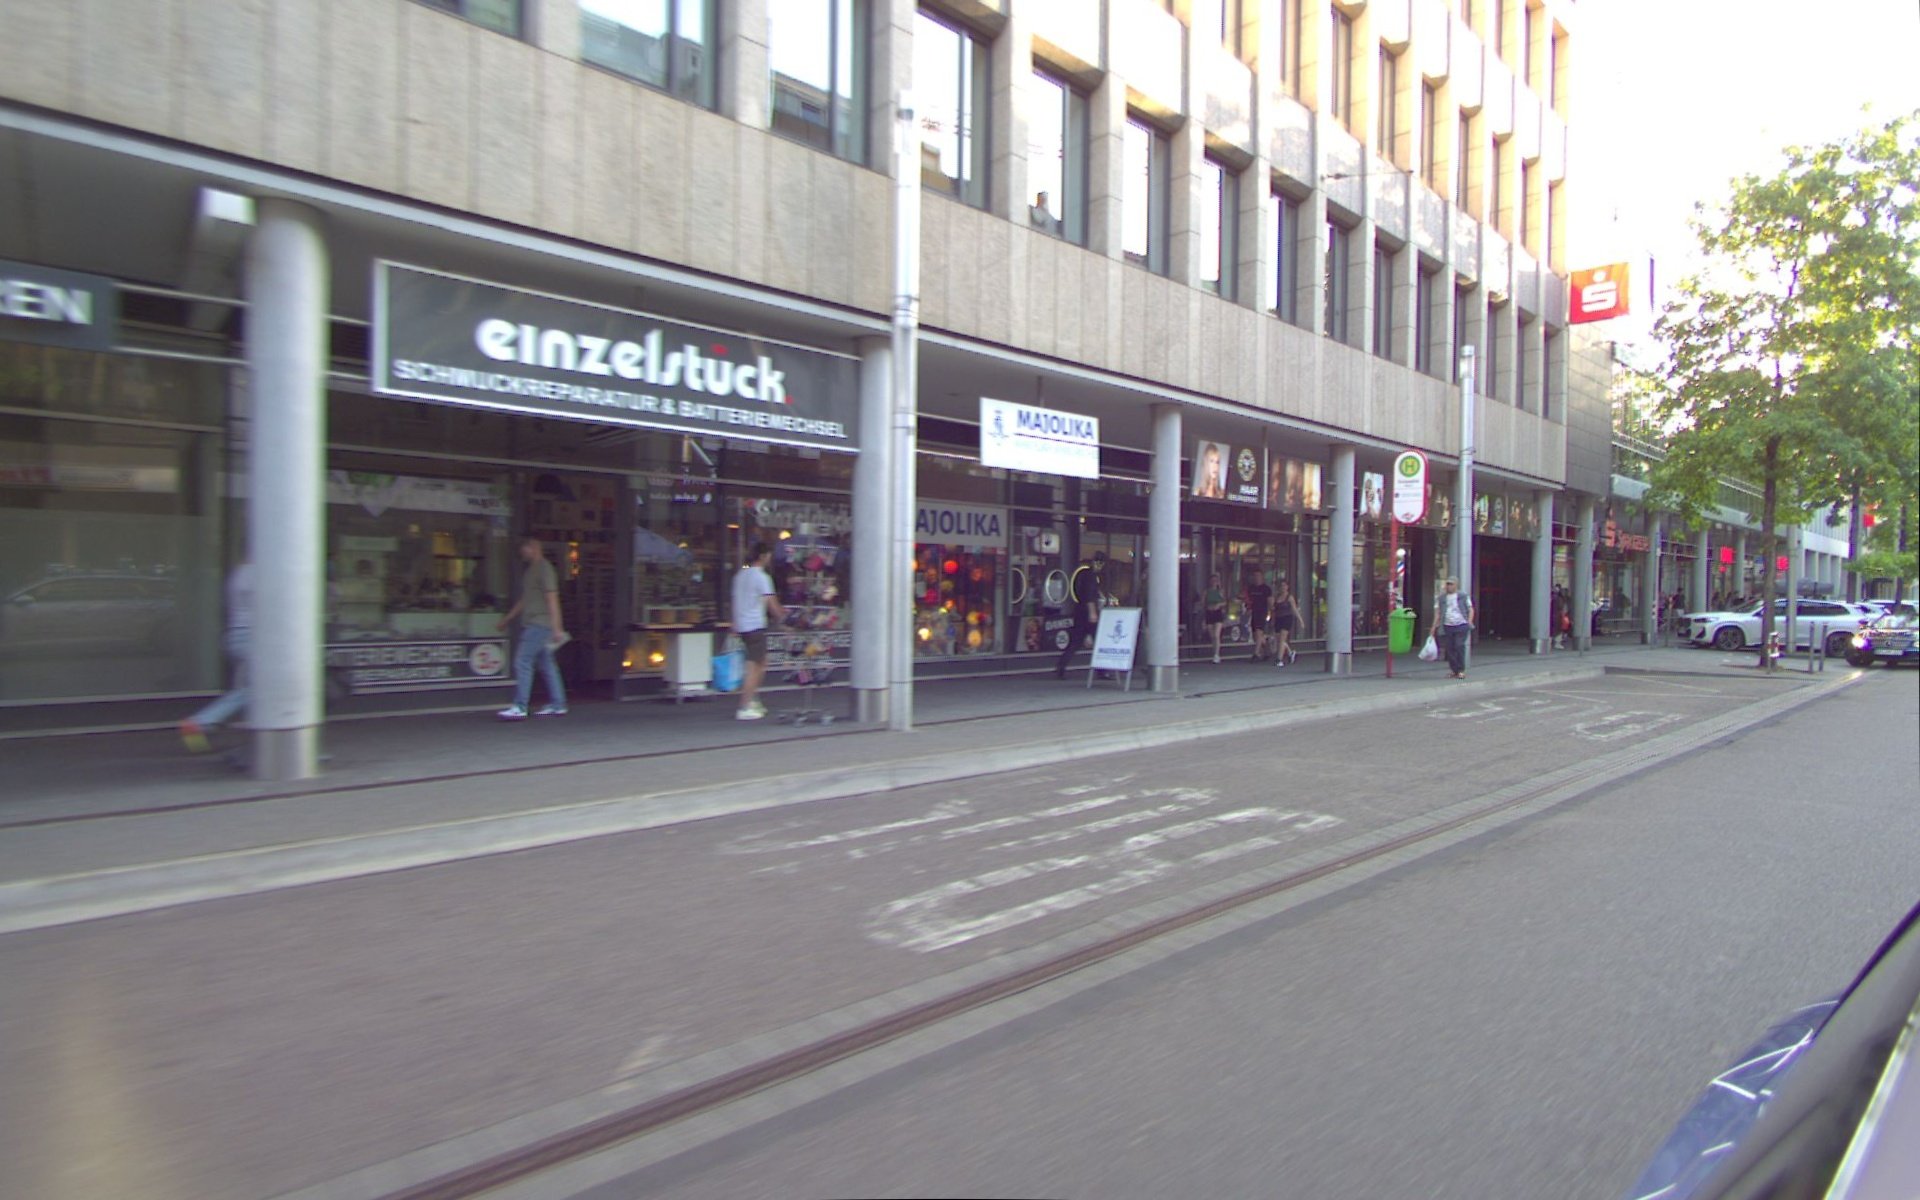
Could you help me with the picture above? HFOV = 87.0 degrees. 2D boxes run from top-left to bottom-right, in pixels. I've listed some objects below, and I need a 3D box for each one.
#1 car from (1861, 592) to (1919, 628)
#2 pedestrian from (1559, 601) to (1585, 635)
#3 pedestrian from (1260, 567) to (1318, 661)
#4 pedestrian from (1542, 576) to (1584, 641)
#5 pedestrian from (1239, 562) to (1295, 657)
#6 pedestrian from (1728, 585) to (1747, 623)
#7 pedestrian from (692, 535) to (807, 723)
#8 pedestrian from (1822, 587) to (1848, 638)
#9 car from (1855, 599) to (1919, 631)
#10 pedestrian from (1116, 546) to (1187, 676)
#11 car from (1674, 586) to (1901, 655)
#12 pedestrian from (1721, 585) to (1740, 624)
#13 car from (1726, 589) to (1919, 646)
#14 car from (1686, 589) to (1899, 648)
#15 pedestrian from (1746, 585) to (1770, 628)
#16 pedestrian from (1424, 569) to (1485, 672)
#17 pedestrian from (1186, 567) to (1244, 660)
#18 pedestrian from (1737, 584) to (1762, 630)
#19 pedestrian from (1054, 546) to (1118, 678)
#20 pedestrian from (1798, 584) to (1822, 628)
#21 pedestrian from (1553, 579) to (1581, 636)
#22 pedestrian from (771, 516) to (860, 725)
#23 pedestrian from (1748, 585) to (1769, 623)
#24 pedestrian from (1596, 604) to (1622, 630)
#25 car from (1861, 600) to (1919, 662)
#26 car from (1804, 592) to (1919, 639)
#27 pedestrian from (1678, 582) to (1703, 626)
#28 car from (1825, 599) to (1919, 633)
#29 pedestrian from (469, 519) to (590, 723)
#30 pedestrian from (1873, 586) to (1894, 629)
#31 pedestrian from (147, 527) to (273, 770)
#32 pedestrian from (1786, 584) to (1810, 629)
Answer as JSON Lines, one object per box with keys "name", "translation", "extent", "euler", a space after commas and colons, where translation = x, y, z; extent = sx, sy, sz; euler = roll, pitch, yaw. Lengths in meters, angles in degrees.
{"name": "car", "translation": [50.474, 0.501, 53.364], "extent": [3.957, 1.809, 1.849], "euler": [-2, -2, 25]}
{"name": "pedestrian", "translation": [19.818, 0.571, 32.754], "extent": [0.625, 1.048, 0.550], "euler": [2, 2, 40]}
{"name": "pedestrian", "translation": [6.000, 0.237, 18.462], "extent": [0.775, 1.664, 0.681], "euler": [0, 2, -43]}
{"name": "pedestrian", "translation": [15.885, 0.205, 26.659], "extent": [0.728, 1.664, 0.749], "euler": [0, 2, -42]}
{"name": "pedestrian", "translation": [5.950, 0.163, 19.621], "extent": [0.849, 1.794, 0.674], "euler": [0, 2, -43]}
{"name": "pedestrian", "translation": [35.926, 0.180, 46.762], "extent": [0.617, 1.712, 0.557], "euler": [0, 1, -41]}
{"name": "pedestrian", "translation": [-2.163, 0.263, 10.390], "extent": [0.844, 1.819, 0.846], "euler": [0, 2, -41]}
{"name": "pedestrian", "translation": [31.888, 0.428, 36.886], "extent": [0.617, 1.822, 0.617], "euler": [0, 1, -41]}
{"name": "car", "translation": [47.230, 0.722, 50.035], "extent": [3.948, 1.530, 1.853], "euler": [-2, -1, 19]}
{"name": "pedestrian", "translation": [2.916, 0.147, 15.433], "extent": [0.782, 1.912, 0.708], "euler": [0, 2, -41]}
{"name": "car", "translation": [23.594, 0.555, 29.069], "extent": [4.574, 1.650, 1.908], "euler": [3, 0, 17]}
{"name": "pedestrian", "translation": [34.611, 0.195, 45.456], "extent": [0.617, 1.712, 0.557], "euler": [0, 1, -41]}
{"name": "car", "translation": [28.879, 0.542, 33.973], "extent": [4.570, 1.607, 1.910], "euler": [3, 2, 14]}
{"name": "car", "translation": [25.370, 0.517, 31.071], "extent": [4.583, 1.457, 1.905], "euler": [3, 2, 22]}
{"name": "pedestrian", "translation": [32.101, 0.246, 40.718], "extent": [0.617, 1.712, 0.617], "euler": [0, 1, -41]}
{"name": "pedestrian", "translation": [7.945, 0.324, 16.255], "extent": [0.627, 1.608, 0.669], "euler": [0, -1, -42]}
{"name": "pedestrian", "translation": [4.731, 0.231, 18.784], "extent": [0.805, 1.664, 0.711], "euler": [0, 2, -43]}
{"name": "pedestrian", "translation": [30.271, 0.268, 38.824], "extent": [0.617, 1.712, 0.617], "euler": [0, 1, -41]}
{"name": "pedestrian", "translation": [1.870, 0.159, 15.044], "extent": [0.671, 1.912, 0.617], "euler": [0, 1, -40]}
{"name": "pedestrian", "translation": [33.969, 0.242, 40.452], "extent": [0.617, 1.712, 0.617], "euler": [0, 1, -41]}
{"name": "pedestrian", "translation": [19.165, 0.225, 31.944], "extent": [0.617, 1.794, 0.557], "euler": [0, 1, -41]}
{"name": "pedestrian", "translation": [-1.423, 0.182, 9.968], "extent": [0.644, 1.968, 0.579], "euler": [0, 1, -42]}
{"name": "pedestrian", "translation": [36.427, 0.183, 46.178], "extent": [0.617, 1.712, 0.617], "euler": [0, 1, -41]}
{"name": "pedestrian", "translation": [22.743, 0.583, 35.460], "extent": [0.548, 0.892, 0.627], "euler": [0, 2, -42]}
{"name": "car", "translation": [23.946, 0.710, 24.833], "extent": [4.479, 1.426, 1.800], "euler": [0, 0, -36]}
{"name": "car", "translation": [39.426, 0.665, 43.492], "extent": [4.397, 1.904, 1.793], "euler": [-2, -1, 12]}
{"name": "pedestrian", "translation": [29.457, 0.154, 40.814], "extent": [0.619, 1.712, 0.556], "euler": [1, 1, 14]}
{"name": "car", "translation": [44.148, 0.748, 48.268], "extent": [3.948, 1.530, 1.789], "euler": [-2, -1, 19]}
{"name": "pedestrian", "translation": [-4.291, 0.180, 10.072], "extent": [0.883, 1.912, 0.846], "euler": [0, 2, -41]}
{"name": "pedestrian", "translation": [37.333, 0.311, 40.915], "extent": [0.616, 1.712, 0.618], "euler": [1, 0, 44]}
{"name": "pedestrian", "translation": [-5.555, 0.322, 7.494], "extent": [0.709, 1.682, 0.689], "euler": [0, 2, -40]}
{"name": "pedestrian", "translation": [33.098, 0.250, 39.955], "extent": [0.617, 1.712, 0.617], "euler": [0, 1, -41]}
